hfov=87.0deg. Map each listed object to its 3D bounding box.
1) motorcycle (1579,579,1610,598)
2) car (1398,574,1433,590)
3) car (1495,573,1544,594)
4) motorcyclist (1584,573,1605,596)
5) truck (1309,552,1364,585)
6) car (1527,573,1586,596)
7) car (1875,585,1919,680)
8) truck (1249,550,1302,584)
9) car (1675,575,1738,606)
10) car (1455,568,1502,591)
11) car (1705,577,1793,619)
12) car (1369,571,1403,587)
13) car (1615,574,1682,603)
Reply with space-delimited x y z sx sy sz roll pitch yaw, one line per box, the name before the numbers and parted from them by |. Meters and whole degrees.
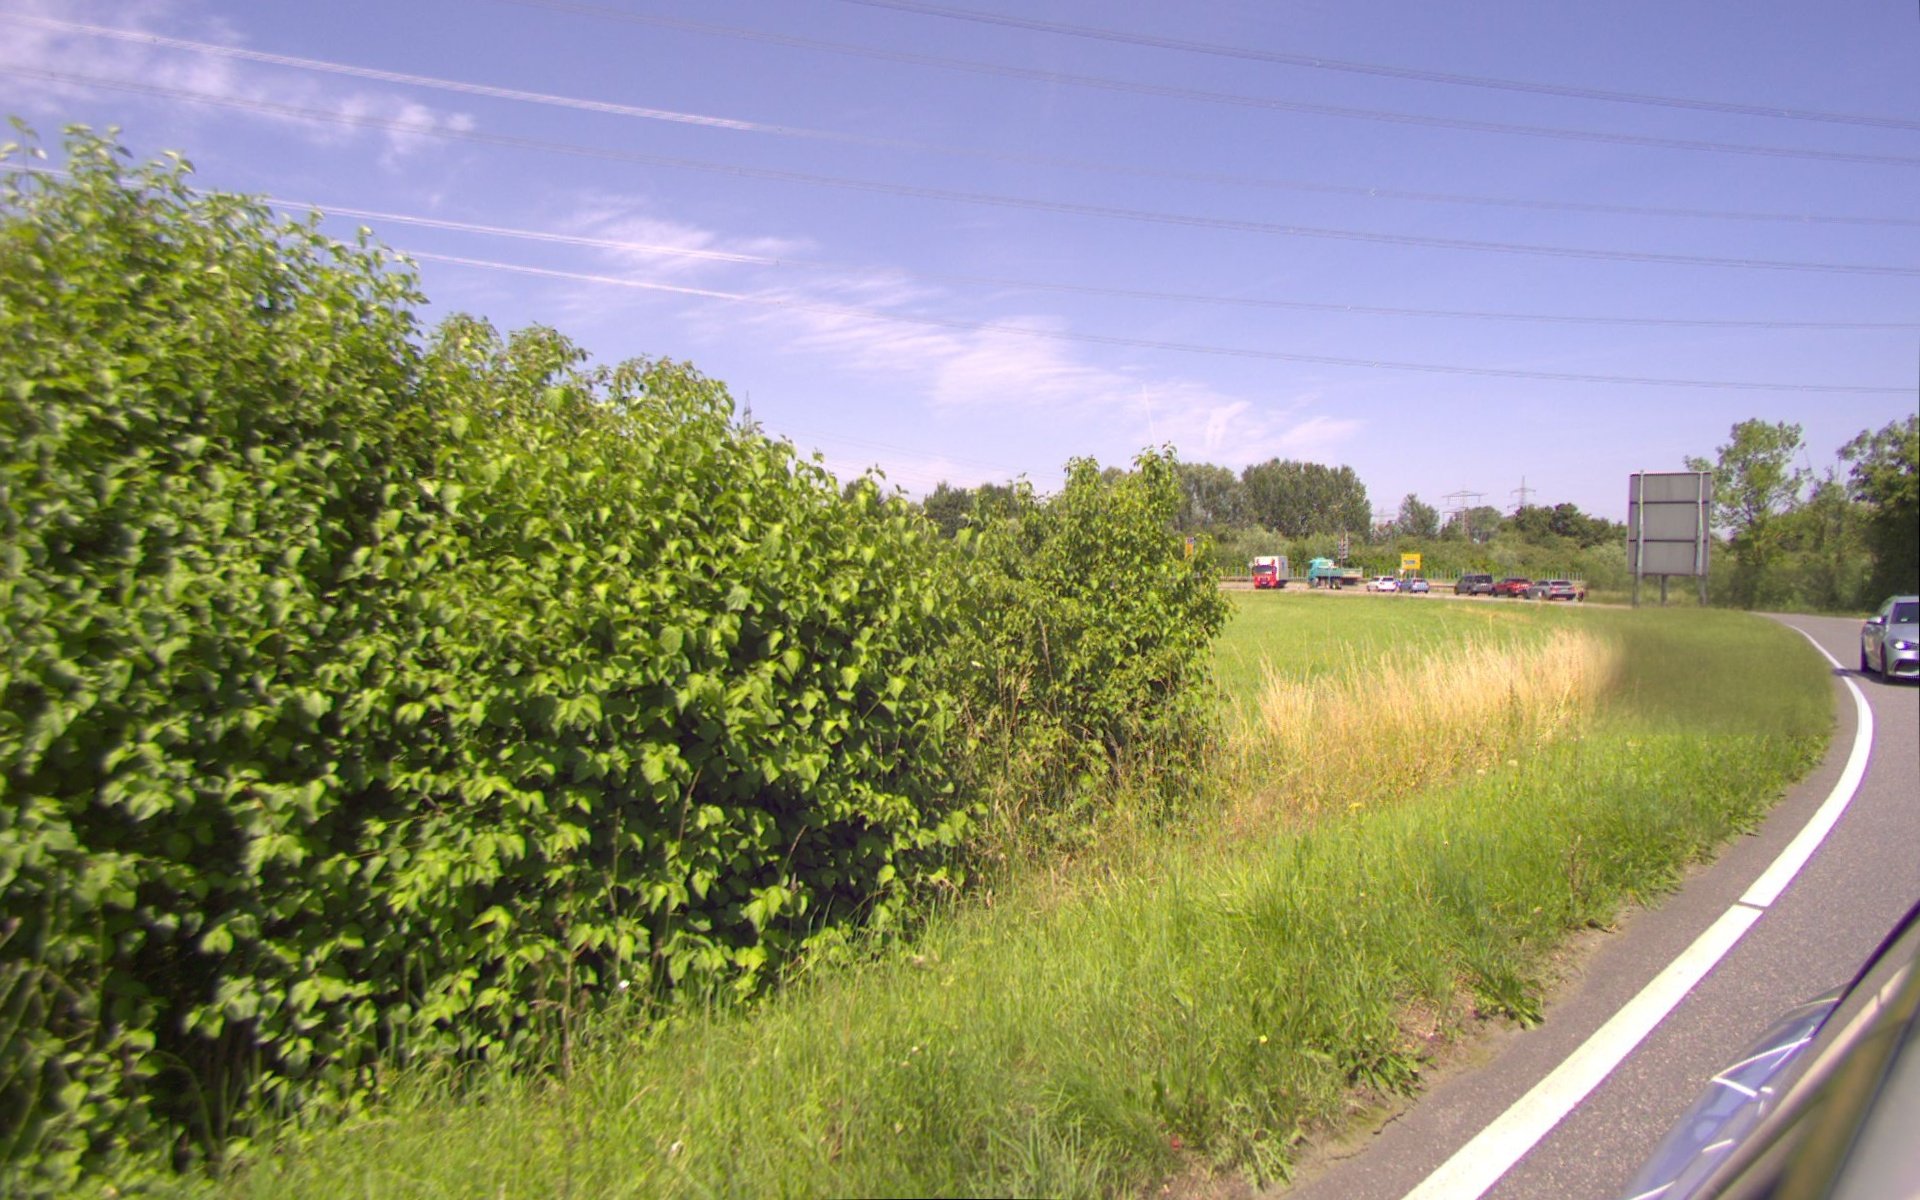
motorcycle | 42.444 -0.784 67.692 0.770 1.137 2.426 -1 2 6
car | 43.676 -1.756 97.042 1.607 1.477 4.007 0 1 2
car | 43.585 -1.299 78.914 1.774 1.534 4.385 1 2 7
motorcyclist | 42.456 -1.017 67.728 0.770 1.513 1.129 0 2 7
truck | 42.014 -3.520 113.212 2.558 3.514 7.620 1 2 -5
car | 42.780 -1.147 72.698 1.815 1.478 4.802 0 2 7
car | 16.940 0.525 17.207 1.817 1.505 4.089 0 0 39
truck | 35.890 -3.780 114.872 2.710 3.623 9.433 0 3 37
car | 39.323 -0.539 53.386 1.520 1.460 3.590 -2 2 16
car | 43.952 -1.792 85.881 1.898 1.855 4.435 0 2 5
car | 29.966 -0.116 38.567 1.807 1.457 4.112 1 2 26
car | 43.794 -2.177 104.120 1.745 1.640 4.329 -1 1 2
car | 41.030 -0.708 60.414 1.679 1.658 4.238 -1 1 9
